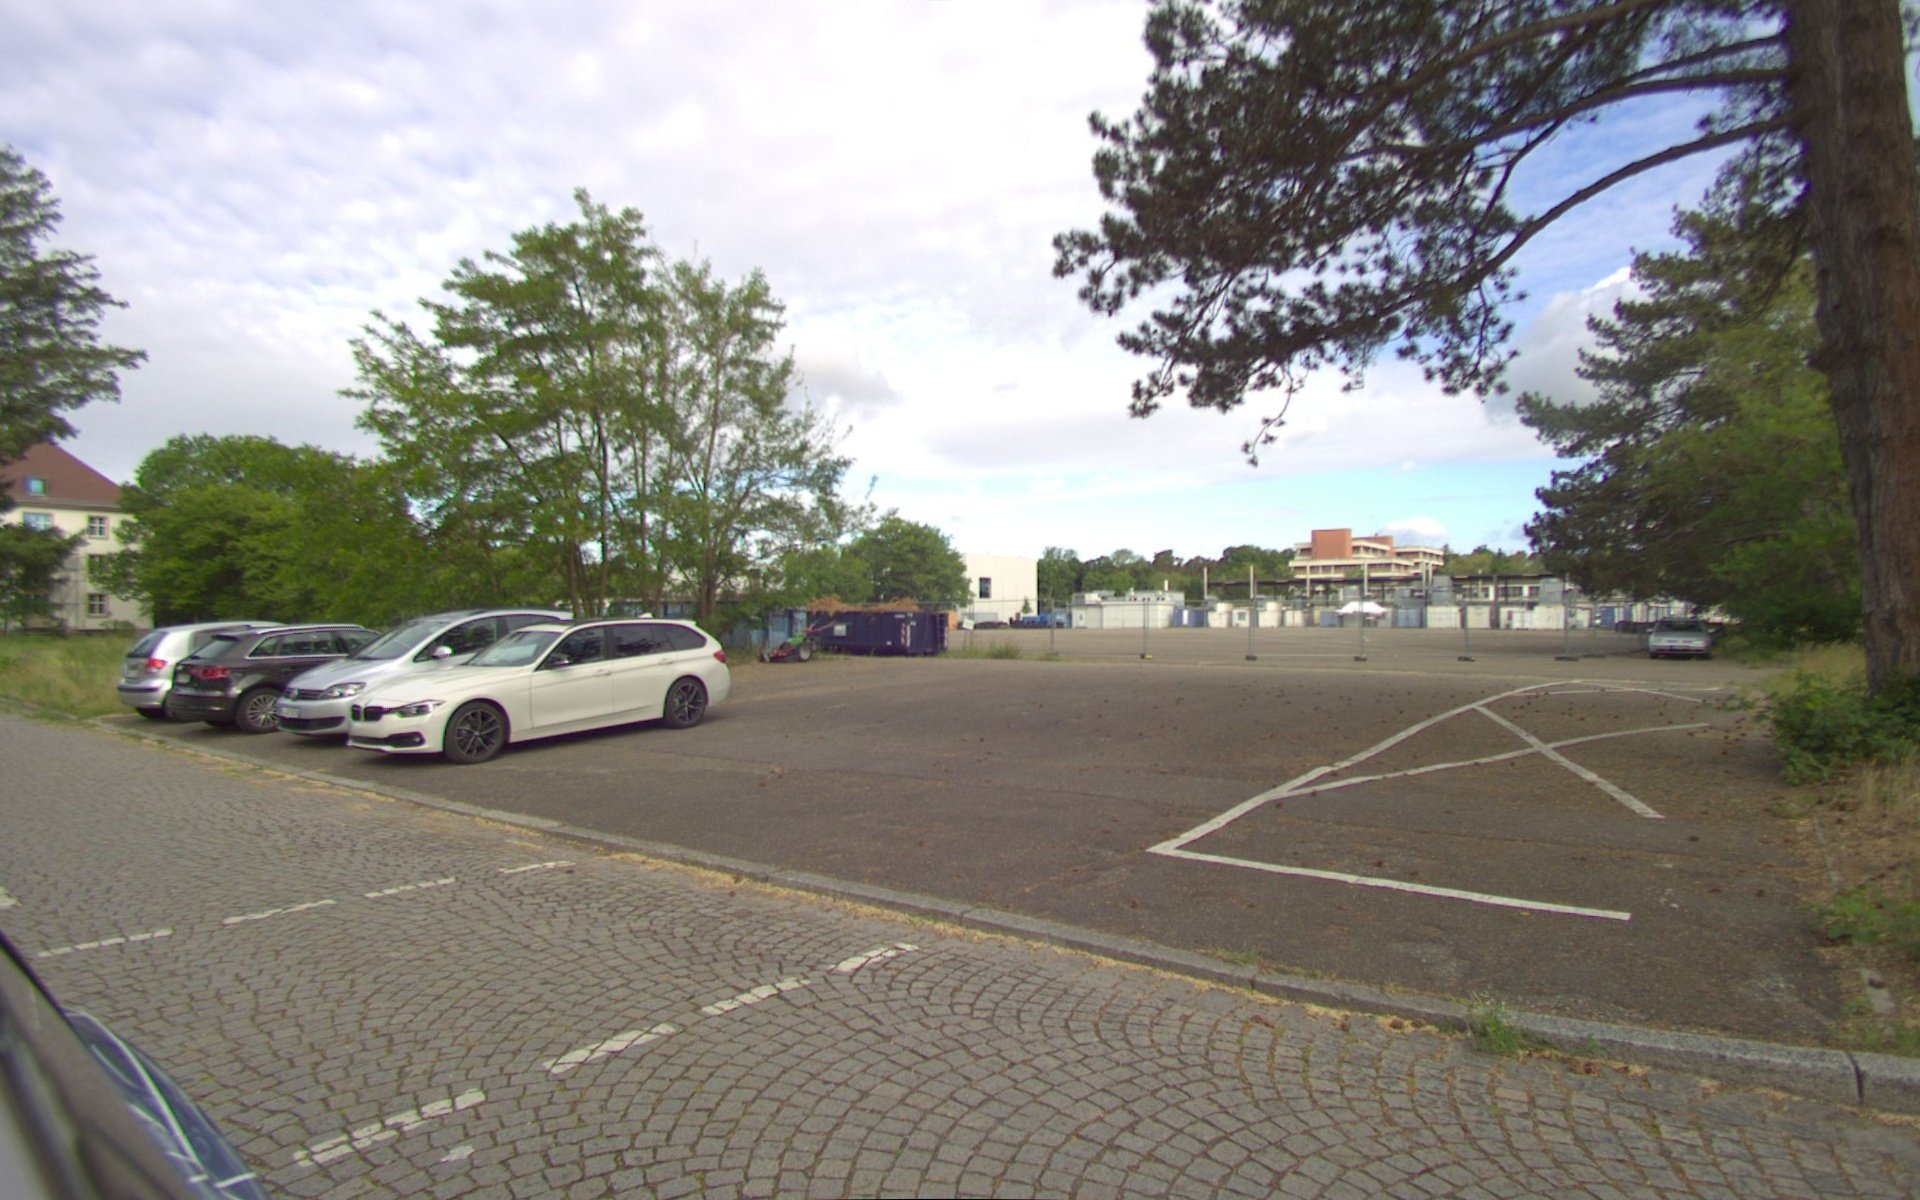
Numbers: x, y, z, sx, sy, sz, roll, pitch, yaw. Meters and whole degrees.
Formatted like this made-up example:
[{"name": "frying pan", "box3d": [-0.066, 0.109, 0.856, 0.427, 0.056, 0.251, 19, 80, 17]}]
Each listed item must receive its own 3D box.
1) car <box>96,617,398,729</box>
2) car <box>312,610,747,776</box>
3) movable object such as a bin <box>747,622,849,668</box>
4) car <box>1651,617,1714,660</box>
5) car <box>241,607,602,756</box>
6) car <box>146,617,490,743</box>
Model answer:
[{"name": "car", "box3d": [-11.611, 1.104, 16.702, 1.803, 1.463, 3.648, -1, 1, 33]}, {"name": "car", "box3d": [-4.930, 0.939, 12.287, 1.797, 1.454, 4.609, -1, 1, 34]}, {"name": "movable object such as a bin", "box3d": [-4.436, 1.203, 27.774, 1.500, 1.170, 2.365, -1, -2, 43]}, {"name": "car", "box3d": [25.221, 1.309, 35.322, 1.694, 1.403, 3.951, -1, -1, 36]}, {"name": "car", "box3d": [-7.073, 0.960, 13.681, 1.719, 1.559, 3.955, -1, 1, 33]}, {"name": "car", "box3d": [-9.391, 1.062, 15.085, 1.748, 1.438, 3.951, -1, 1, 37]}]
